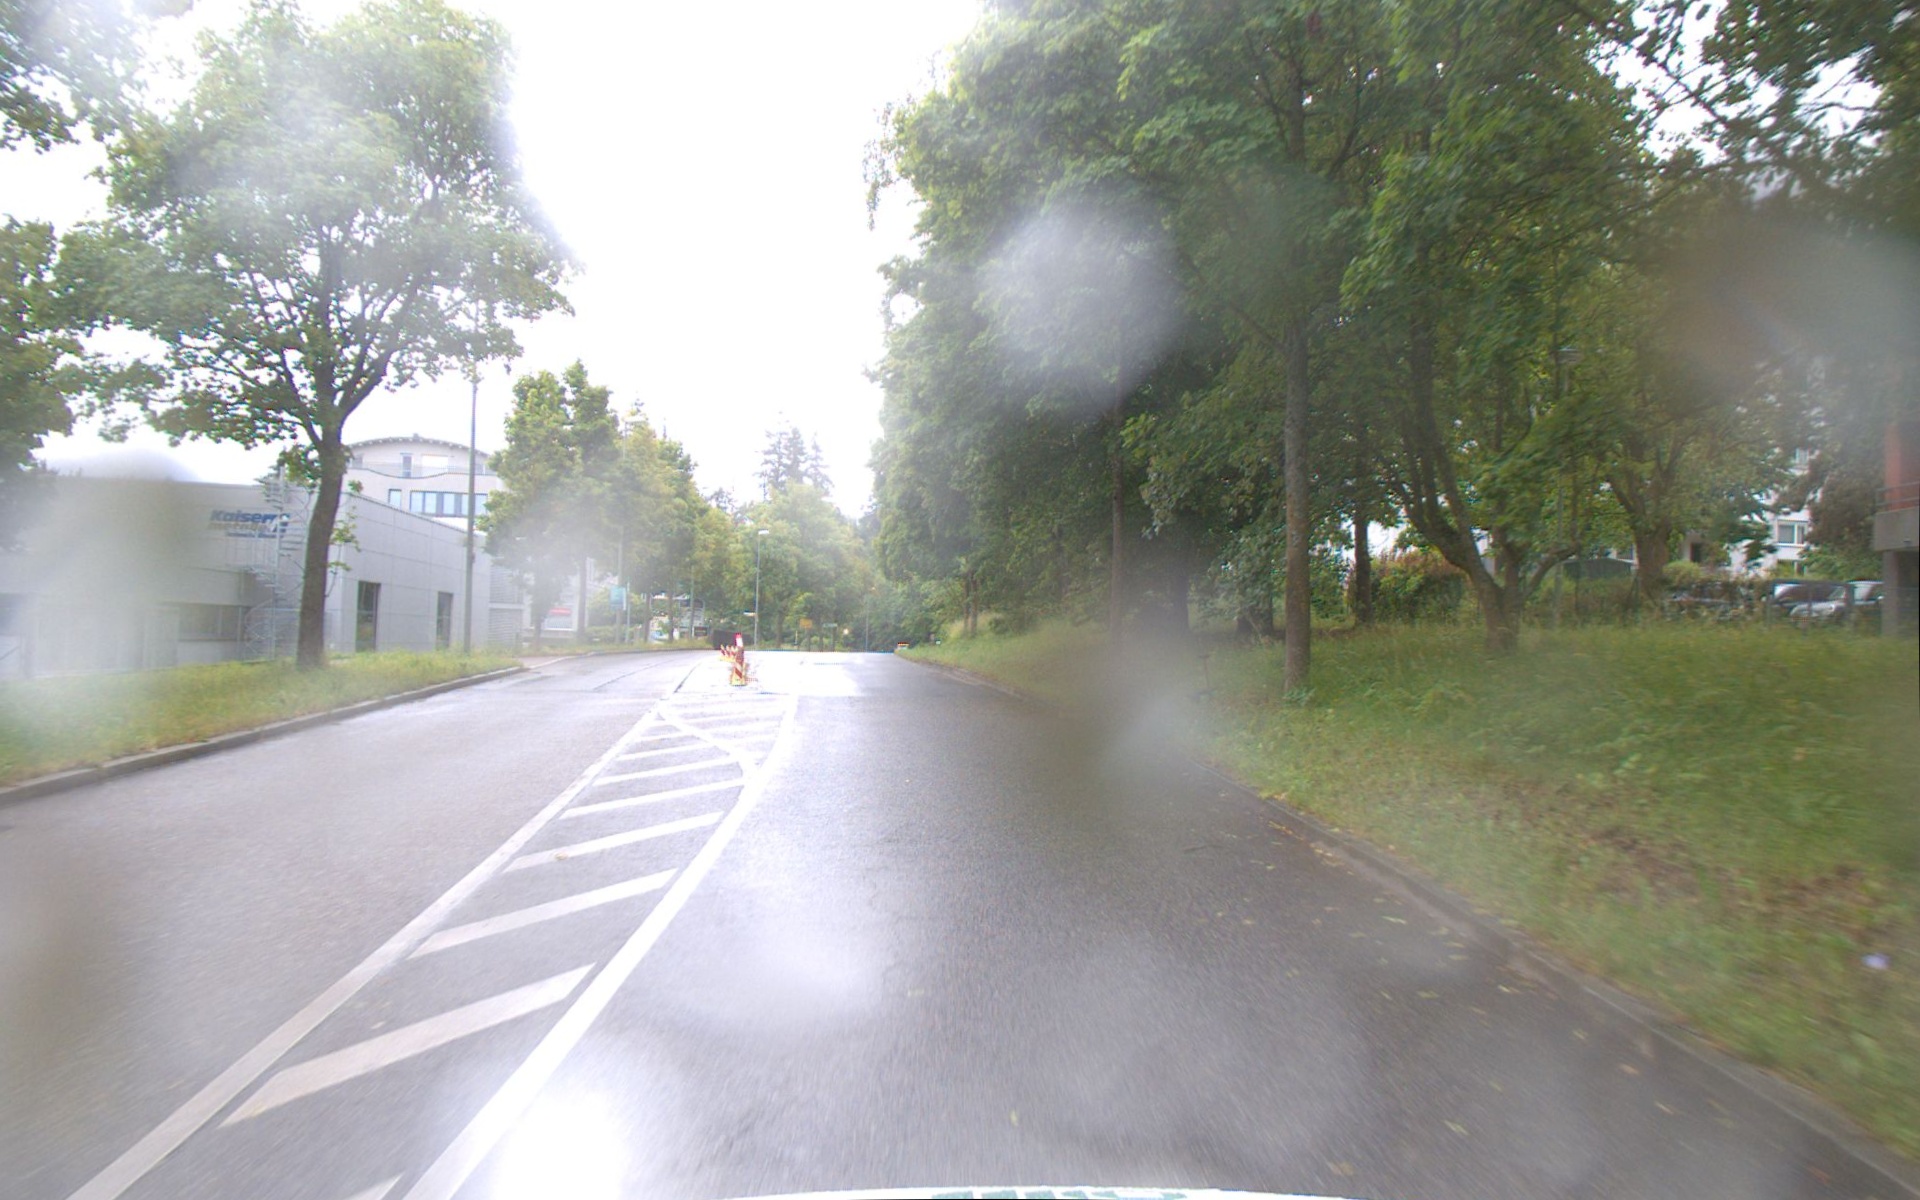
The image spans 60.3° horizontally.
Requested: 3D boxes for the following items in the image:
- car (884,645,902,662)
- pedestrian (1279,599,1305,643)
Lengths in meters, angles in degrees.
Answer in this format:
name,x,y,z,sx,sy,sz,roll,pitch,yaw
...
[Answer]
name,x,y,z,sx,sy,sz,roll,pitch,yaw
car,-6.438,5.135,158.678,1.701,1.537,3.998,0,-3,-2
pedestrian,9.849,0.628,49.059,0.641,1.306,0.624,0,-1,-1
